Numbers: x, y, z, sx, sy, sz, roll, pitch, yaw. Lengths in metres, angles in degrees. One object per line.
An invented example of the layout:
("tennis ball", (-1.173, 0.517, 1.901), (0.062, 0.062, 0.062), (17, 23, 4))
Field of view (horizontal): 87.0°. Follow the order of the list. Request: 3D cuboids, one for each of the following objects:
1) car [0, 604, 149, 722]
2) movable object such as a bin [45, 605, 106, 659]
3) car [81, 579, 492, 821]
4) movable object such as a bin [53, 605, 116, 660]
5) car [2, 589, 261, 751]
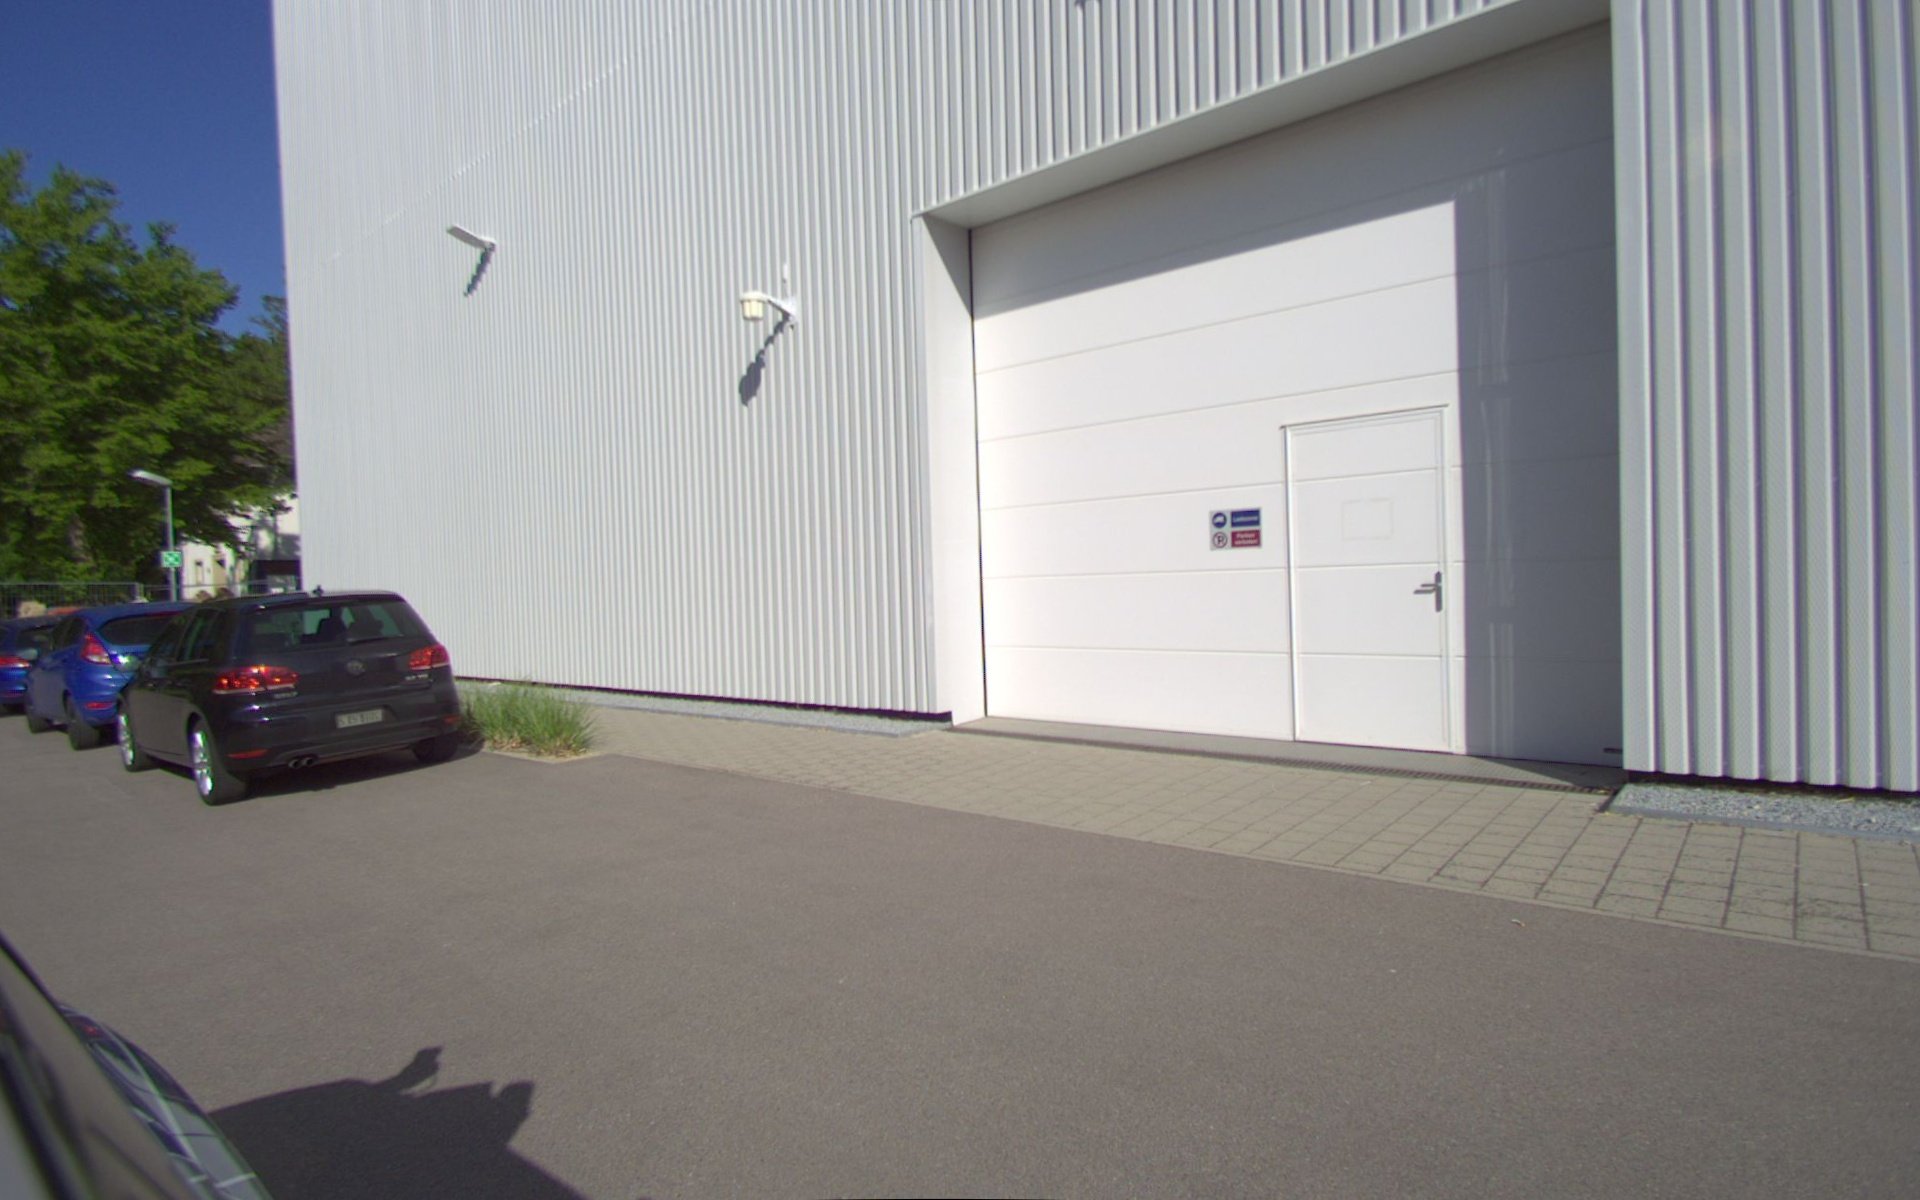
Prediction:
("car", (-13.746, 0.894, 15.118), (3.794, 1.459, 1.695), (-2, 2, 39))
("movable object such as a bin", (-24.876, 0.898, 28.468), (1.279, 1.489, 1.126), (-3, -2, 41))
("car", (-5.872, 0.690, 8.602), (4.312, 1.456, 1.739), (-2, 3, 41))
("movable object such as a bin", (-23.853, 0.870, 27.567), (1.288, 1.445, 1.126), (-2, -1, 41))
("car", (-9.538, 0.728, 11.569), (3.518, 1.499, 1.533), (-2, 2, 39))
